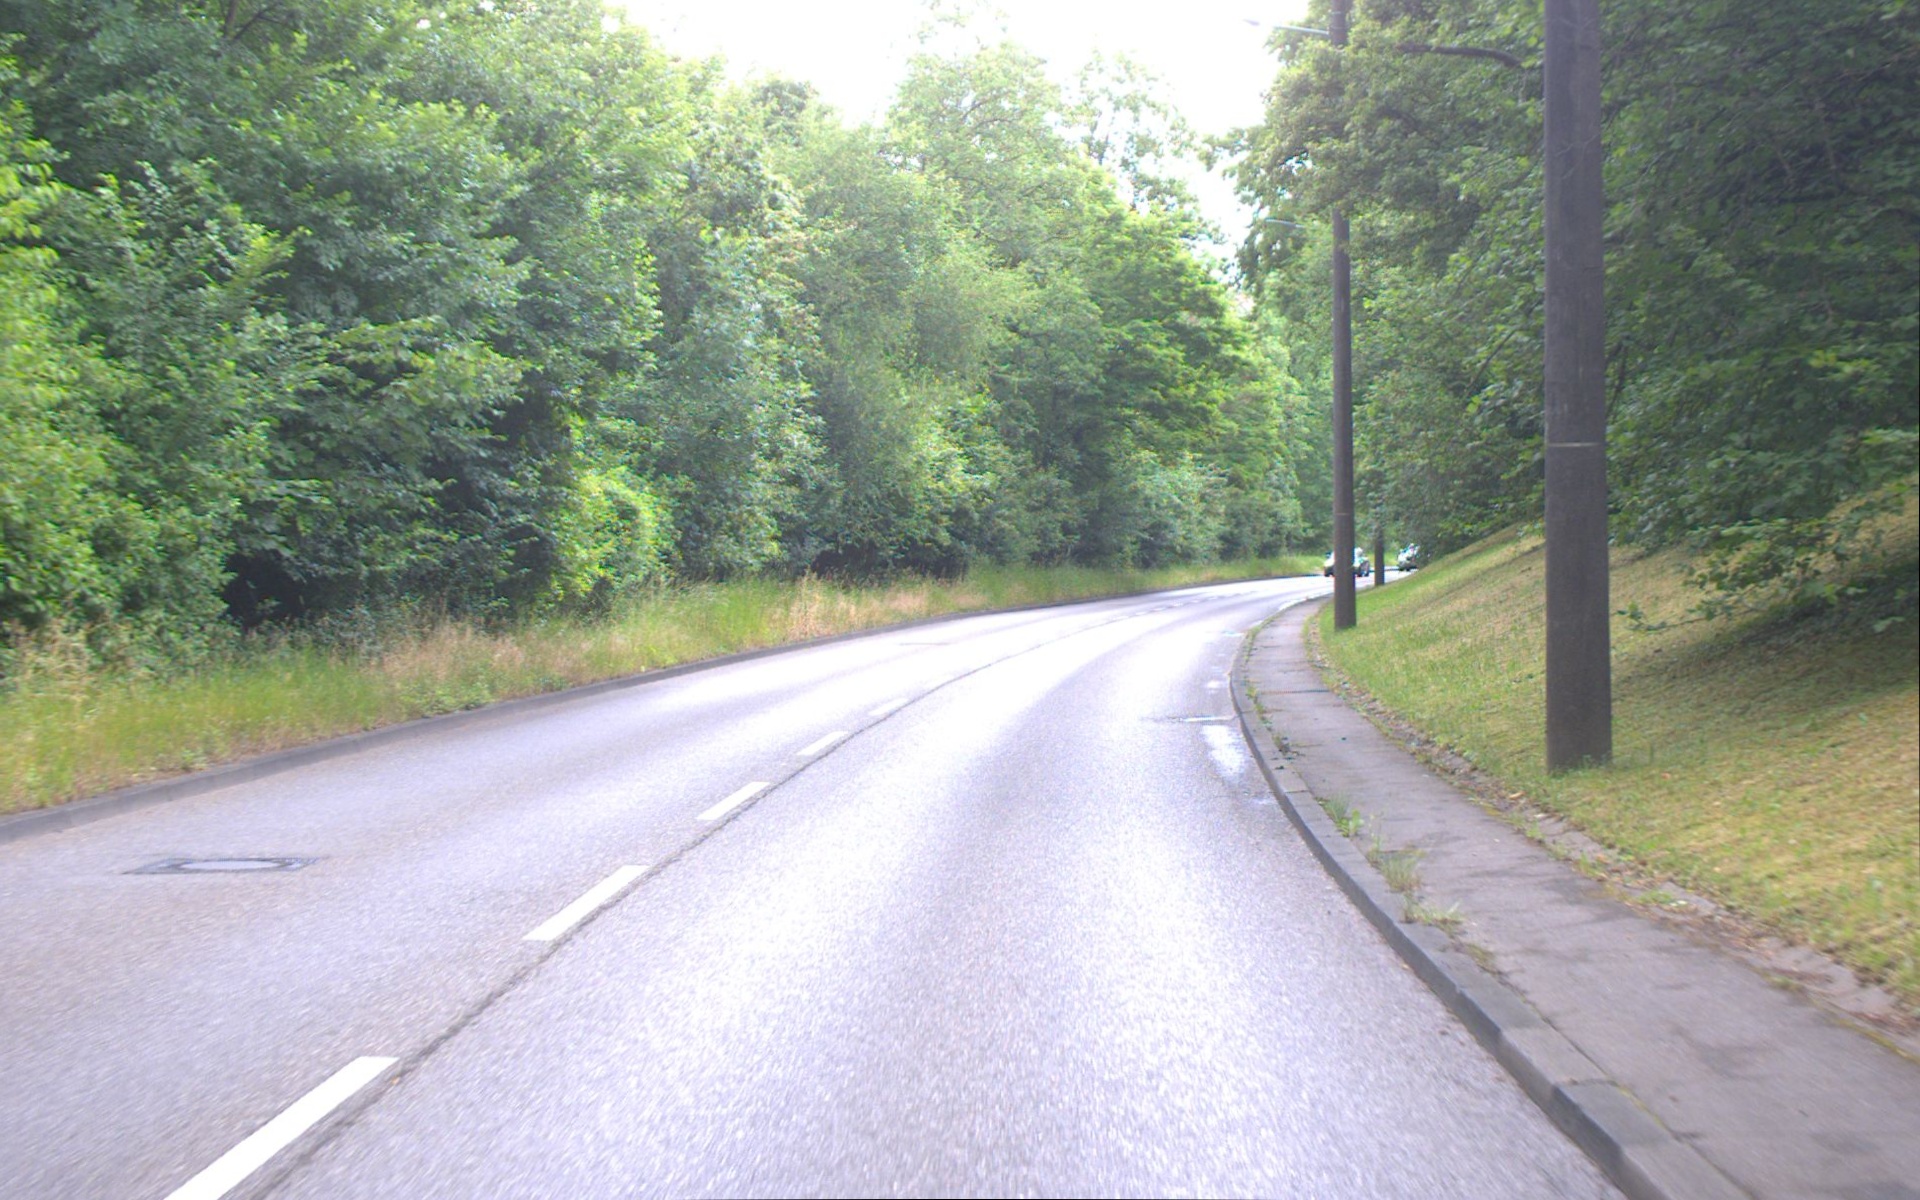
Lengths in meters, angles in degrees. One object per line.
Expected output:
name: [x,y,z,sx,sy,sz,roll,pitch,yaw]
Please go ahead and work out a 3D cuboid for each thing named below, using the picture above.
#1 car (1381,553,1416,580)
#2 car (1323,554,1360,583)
car: [25.560,-1.947,200.469,1.942,1.576,4.439,0,1,6]
car: [18.986,-1.573,170.925,1.810,1.415,3.999,0,1,6]
